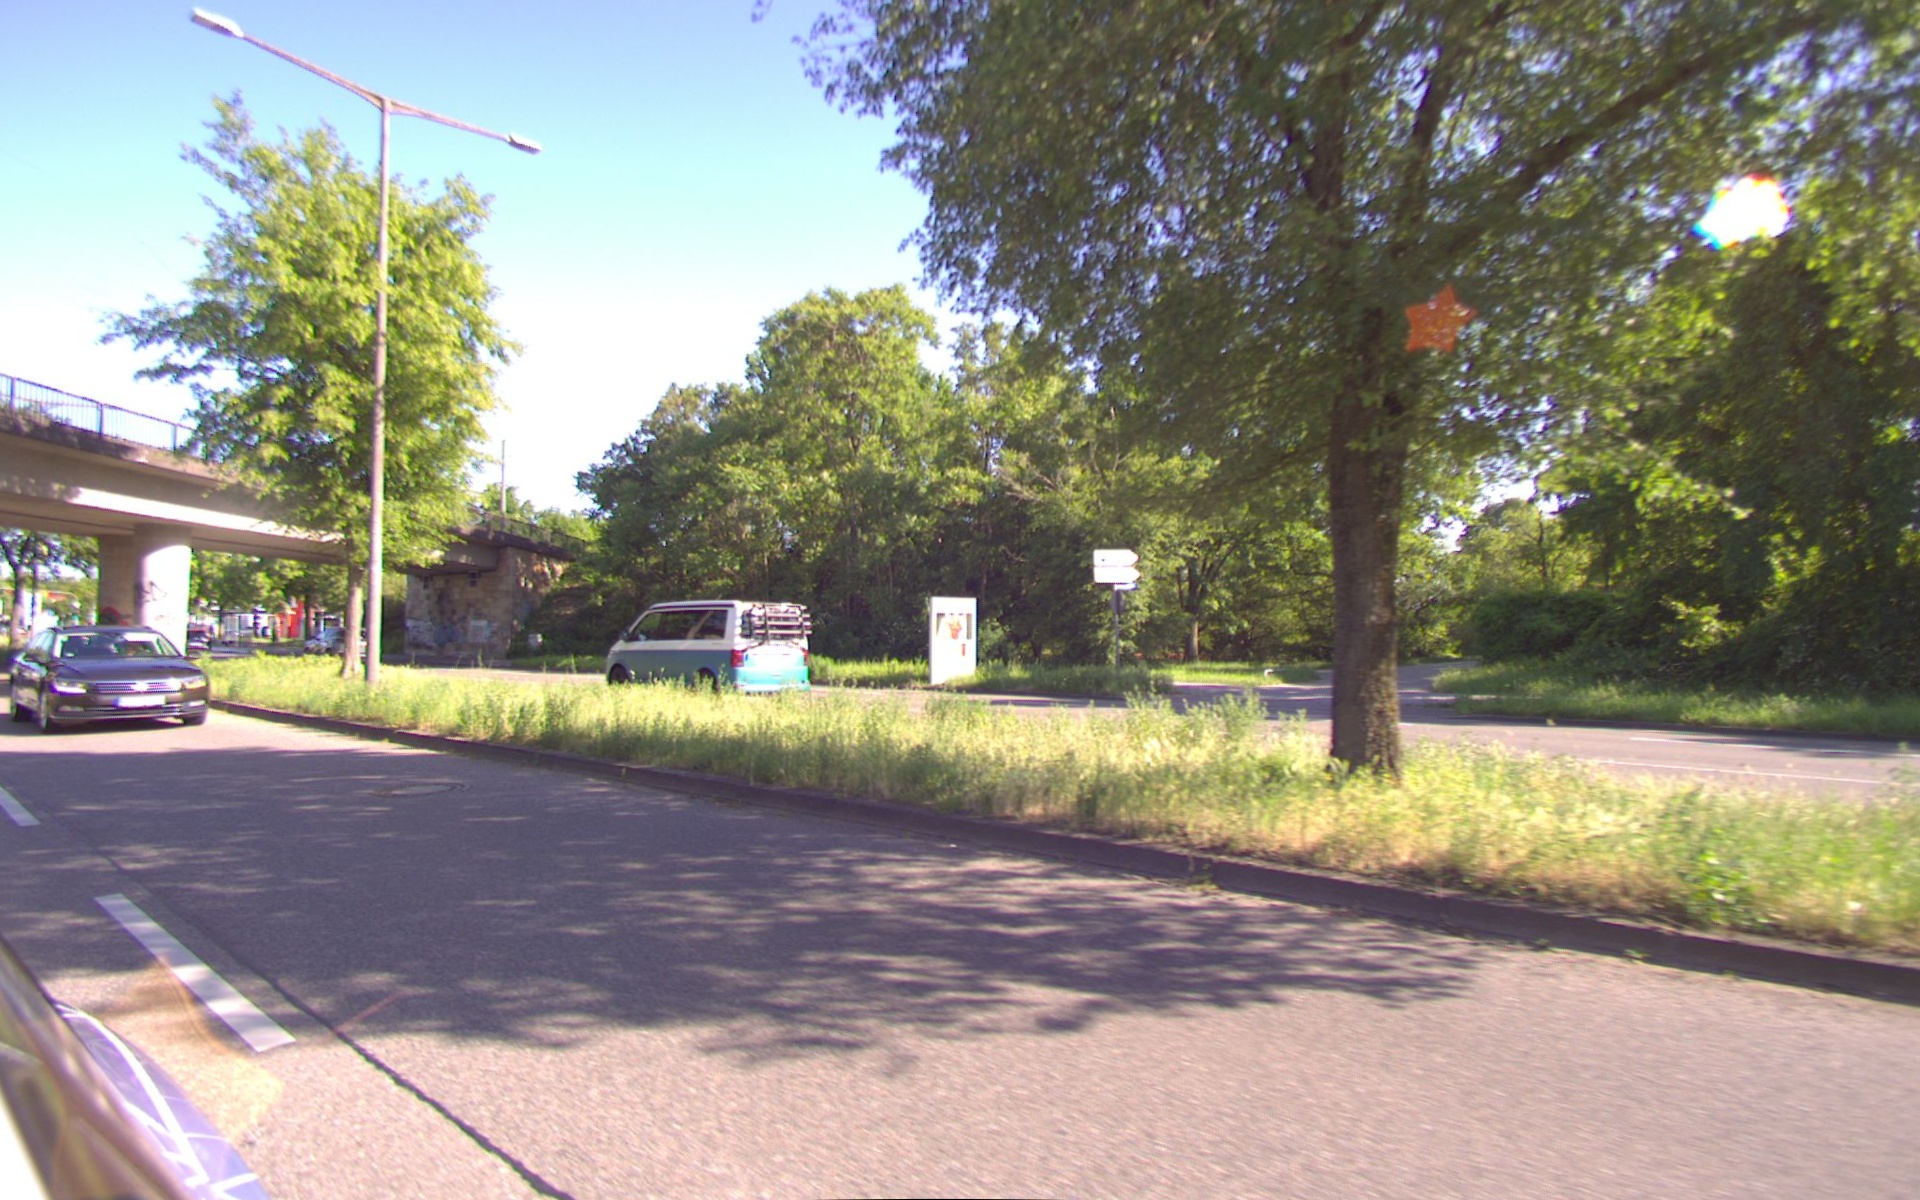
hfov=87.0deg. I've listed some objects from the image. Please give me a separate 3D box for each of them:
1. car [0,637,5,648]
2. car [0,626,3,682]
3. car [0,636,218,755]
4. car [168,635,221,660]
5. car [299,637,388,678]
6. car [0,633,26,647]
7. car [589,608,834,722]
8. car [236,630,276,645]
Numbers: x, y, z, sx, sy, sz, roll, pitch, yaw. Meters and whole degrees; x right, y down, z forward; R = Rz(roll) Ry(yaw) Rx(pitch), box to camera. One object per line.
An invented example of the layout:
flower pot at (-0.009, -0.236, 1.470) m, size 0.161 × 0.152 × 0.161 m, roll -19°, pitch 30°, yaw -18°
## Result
car at (-137.717, 5.981, 144.141) m, size 4.487 × 1.466 × 1.894 m, roll -1°, pitch -5°, yaw 40°
car at (-31.502, 1.672, 31.540) m, size 4.693 × 1.697 × 1.973 m, roll -1°, pitch -1°, yaw 41°
car at (-12.526, 1.266, 14.804) m, size 4.263 × 1.464 × 1.825 m, roll -2°, pitch -2°, yaw 41°
car at (-47.731, 2.963, 63.080) m, size 3.637 × 1.472 × 1.823 m, roll -1°, pitch -4°, yaw 41°
car at (-26.168, 2.378, 42.890) m, size 4.591 × 1.564 × 1.961 m, roll -1°, pitch -1°, yaw 42°
car at (-100.700, 4.226, 107.368) m, size 4.087 × 1.453 × 1.798 m, roll -1°, pitch -3°, yaw 40°
car at (-4.982, 1.182, 19.833) m, size 5.242 × 1.944 × 1.973 m, roll -1°, pitch -3°, yaw 41°
car at (-90.190, 4.744, 129.678) m, size 3.777 × 1.865 × 1.847 m, roll 0°, pitch -1°, yaw 1°
